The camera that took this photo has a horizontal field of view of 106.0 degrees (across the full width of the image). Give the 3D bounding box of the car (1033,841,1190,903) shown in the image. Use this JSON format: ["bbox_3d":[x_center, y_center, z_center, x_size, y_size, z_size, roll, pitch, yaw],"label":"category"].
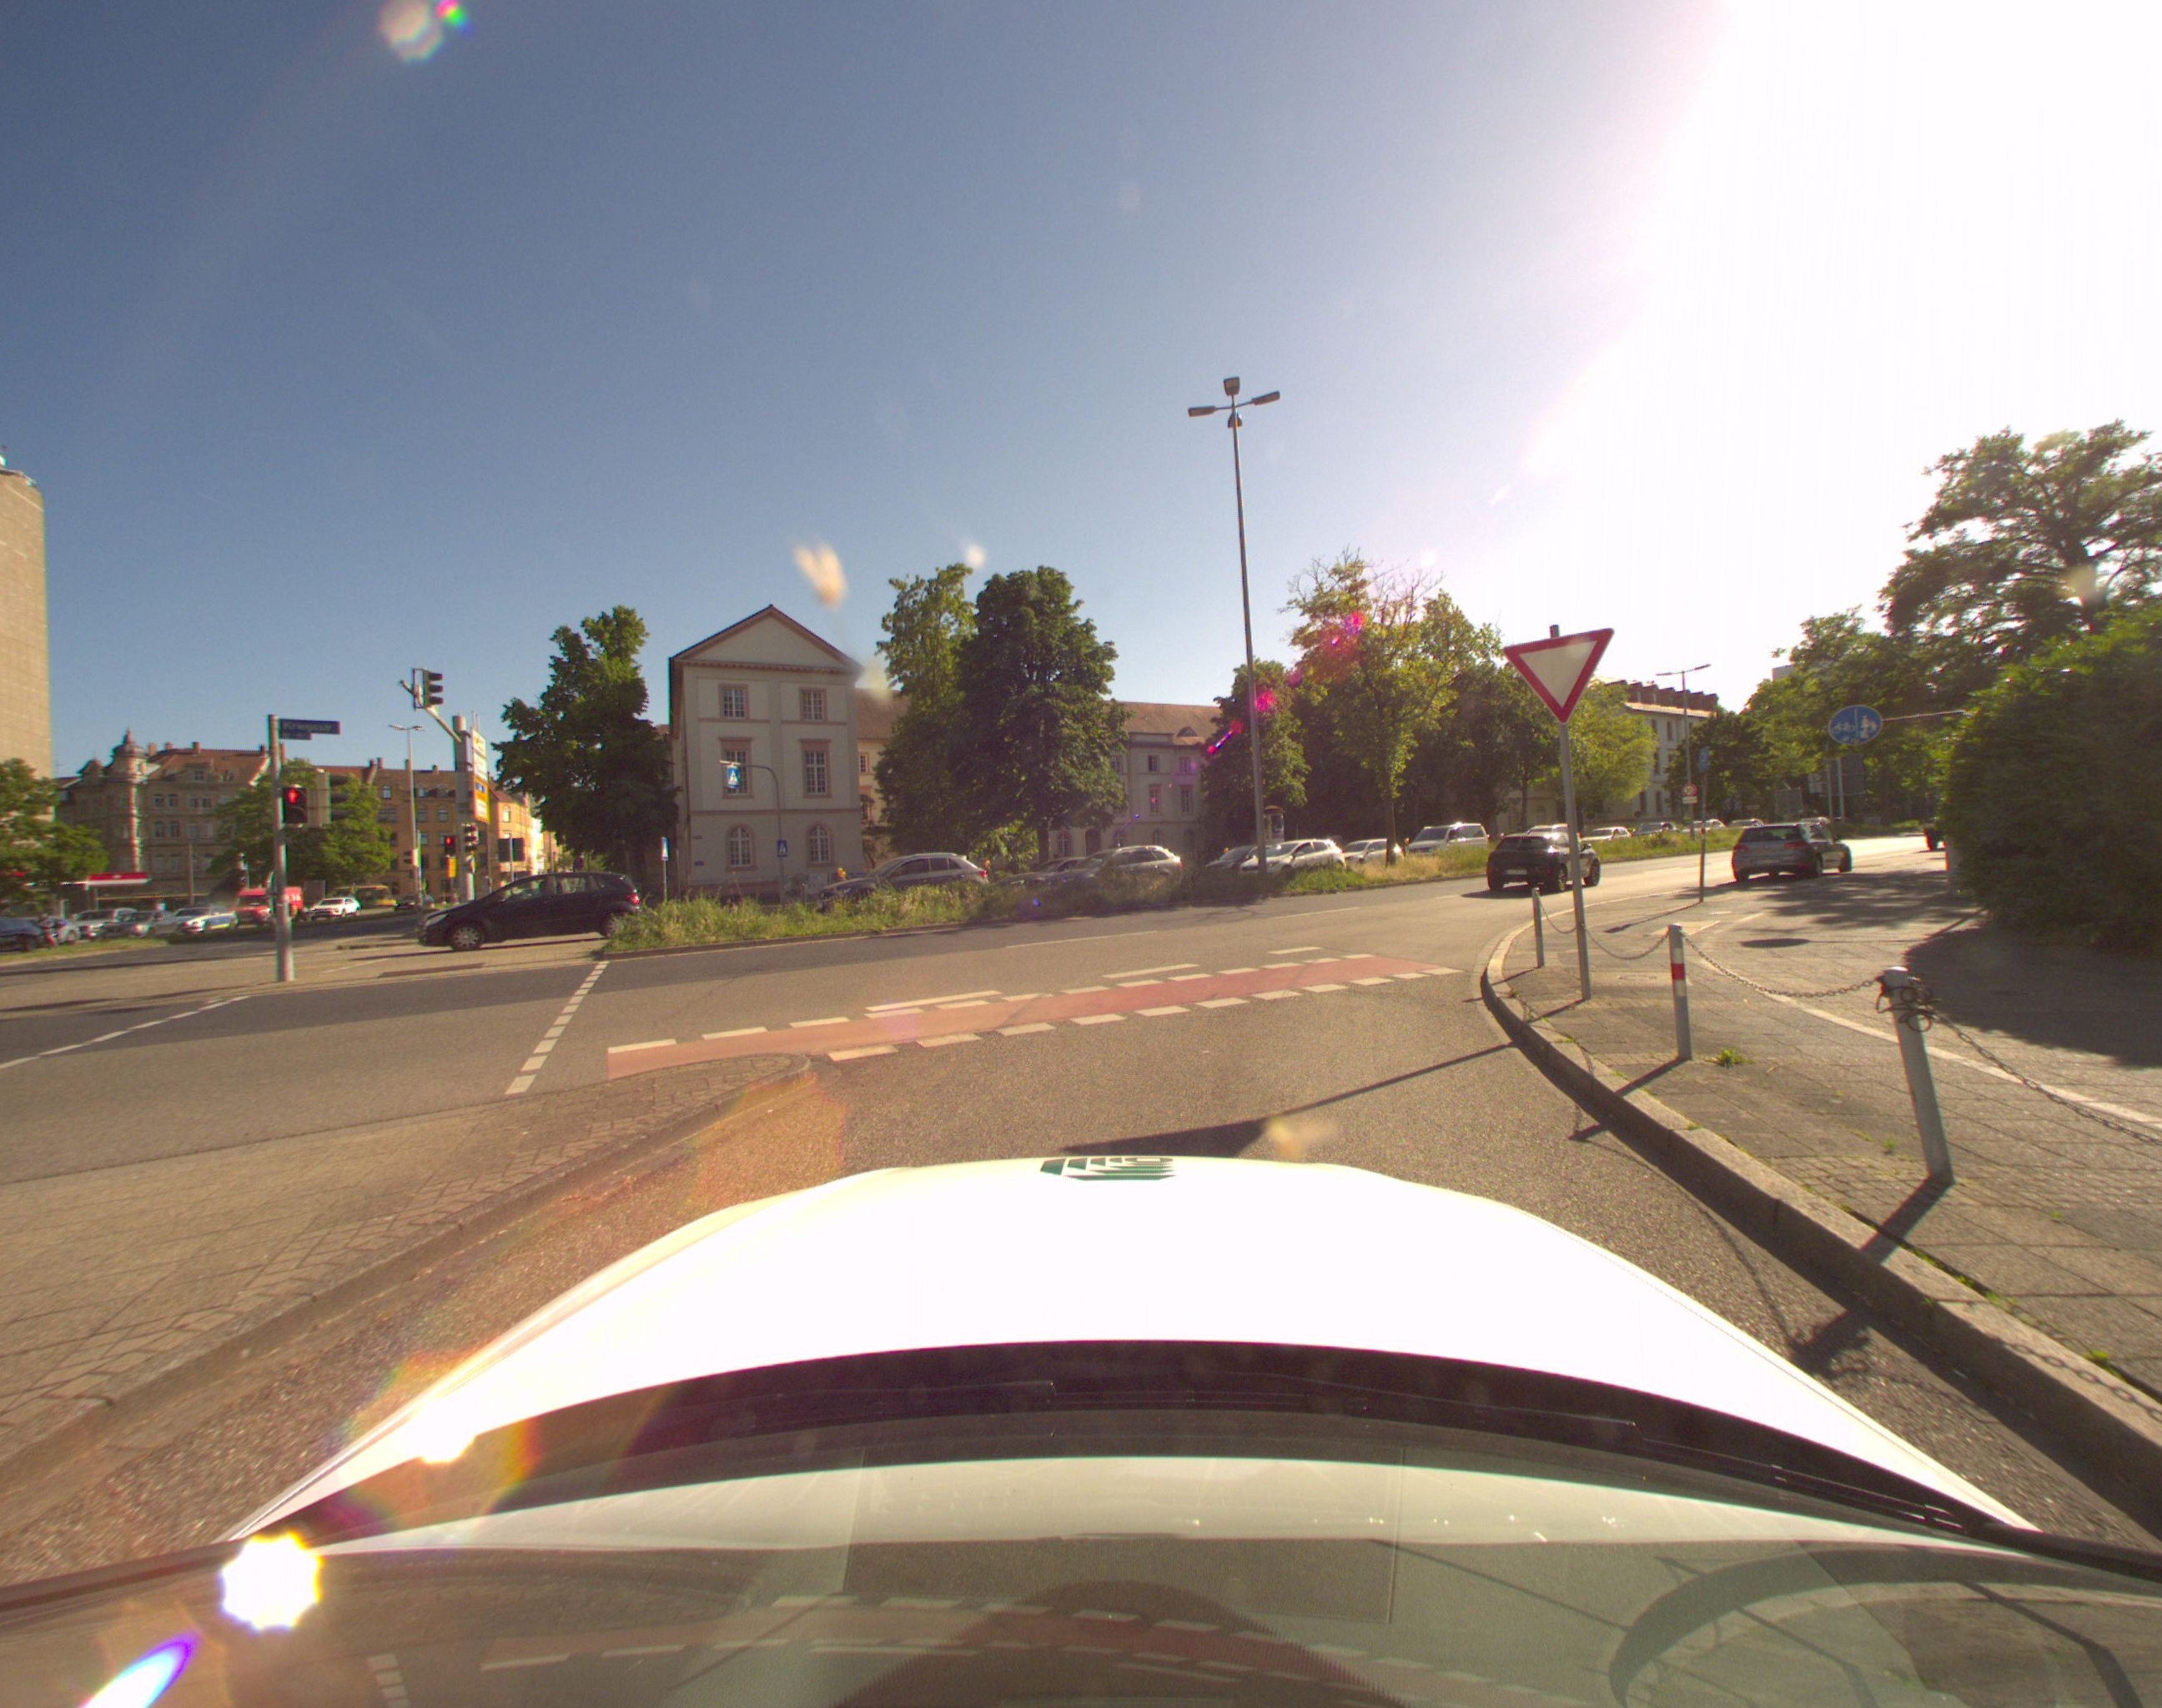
[{"bbox_3d":[0.943,0.470,24.013,4.381,1.519,1.782,-3,1,-35],"label":"car"}]

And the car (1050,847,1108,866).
[{"bbox_3d":[-0.138,0.206,67.224,4.703,1.492,1.630,1,-1,-34],"label":"car"}]

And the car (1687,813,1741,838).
[{"bbox_3d":[44.614,-2.014,57.361,4.276,1.519,1.782,-3,0,-35],"label":"car"}]

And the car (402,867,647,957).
[{"bbox_3d":[-12.322,1.203,18.312,4.296,1.585,1.843,-3,0,-35],"label":"car"}]

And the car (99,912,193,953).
[{"bbox_3d":[-44.473,3.681,38.839,1.566,1.618,3.963,0,-1,-28],"label":"car"}]

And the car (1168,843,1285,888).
[{"bbox_3d":[5.589,0.411,31.092,4.365,1.519,1.782,-2,0,-35],"label":"car"}]

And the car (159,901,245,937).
[{"bbox_3d":[-47.707,3.487,44.336,1.925,1.618,4.664,1,-1,-31],"label":"car"}]

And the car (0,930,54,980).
[{"bbox_3d":[-40.614,3.794,29.715,1.921,1.618,4.673,0,-1,-24],"label":"car"}]

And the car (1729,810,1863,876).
[{"bbox_3d":[19.241,-0.314,21.875,4.172,1.448,1.626,-5,1,-34],"label":"car"}]

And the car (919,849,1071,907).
[{"bbox_3d":[-2.638,0.693,25.386,4.365,1.519,1.782,-2,0,-35],"label":"car"}]

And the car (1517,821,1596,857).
[{"bbox_3d":[26.448,-0.851,45.247,5.053,1.743,1.782,-3,0,-35],"label":"car"}]

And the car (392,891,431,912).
[{"bbox_3d":[-63.412,4.472,77.232,2.005,1.816,3.964,-3,0,-27],"label":"car"}]

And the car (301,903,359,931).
[{"bbox_3d":[-57.580,4.794,62.499,1.922,1.814,4.672,0,-1,-25],"label":"car"}]

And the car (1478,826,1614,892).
[{"bbox_3d":[12.546,0.078,21.903,4.021,1.519,1.879,-3,2,-40],"label":"car"}]

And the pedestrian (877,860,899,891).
[{"bbox_3d":[-9.999,1.100,42.203,0.785,1.535,0.733,-3,0,-39],"label":"pedestrian"}]

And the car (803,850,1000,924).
[{"bbox_3d":[-4.369,0.727,20.069,4.365,1.519,1.782,-2,0,-35],"label":"car"}]

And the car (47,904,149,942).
[{"bbox_3d":[-49.953,3.448,41.494,1.924,1.618,3.963,0,-1,-28],"label":"car"}]

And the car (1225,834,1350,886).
[{"bbox_3d":[7.118,0.186,27.927,4.223,1.519,1.782,-3,0,-35],"label":"car"}]

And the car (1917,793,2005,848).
[{"bbox_3d":[36.247,-1.394,33.515,4.795,2.014,1.648,-2,-2,-34],"label":"car"}]

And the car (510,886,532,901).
[{"bbox_3d":[-70.987,5.010,103.243,1.859,1.706,3.962,-3,0,-29],"label":"car"}]

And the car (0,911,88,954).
[{"bbox_3d":[-46.960,3.486,36.357,1.924,1.618,3.963,0,-1,-28],"label":"car"}]

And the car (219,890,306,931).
[{"bbox_3d":[-51.699,3.499,51.611,1.922,2.231,5.852,0,-1,-25],"label":"car"}]

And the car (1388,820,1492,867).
[{"bbox_3d":[17.400,-0.523,39.388,5.038,2.028,2.216,-3,0,-35],"label":"car"}]

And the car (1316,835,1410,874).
[{"bbox_3d":[12.316,0.008,35.503,4.096,1.519,1.782,-3,0,-35],"label":"car"}]
